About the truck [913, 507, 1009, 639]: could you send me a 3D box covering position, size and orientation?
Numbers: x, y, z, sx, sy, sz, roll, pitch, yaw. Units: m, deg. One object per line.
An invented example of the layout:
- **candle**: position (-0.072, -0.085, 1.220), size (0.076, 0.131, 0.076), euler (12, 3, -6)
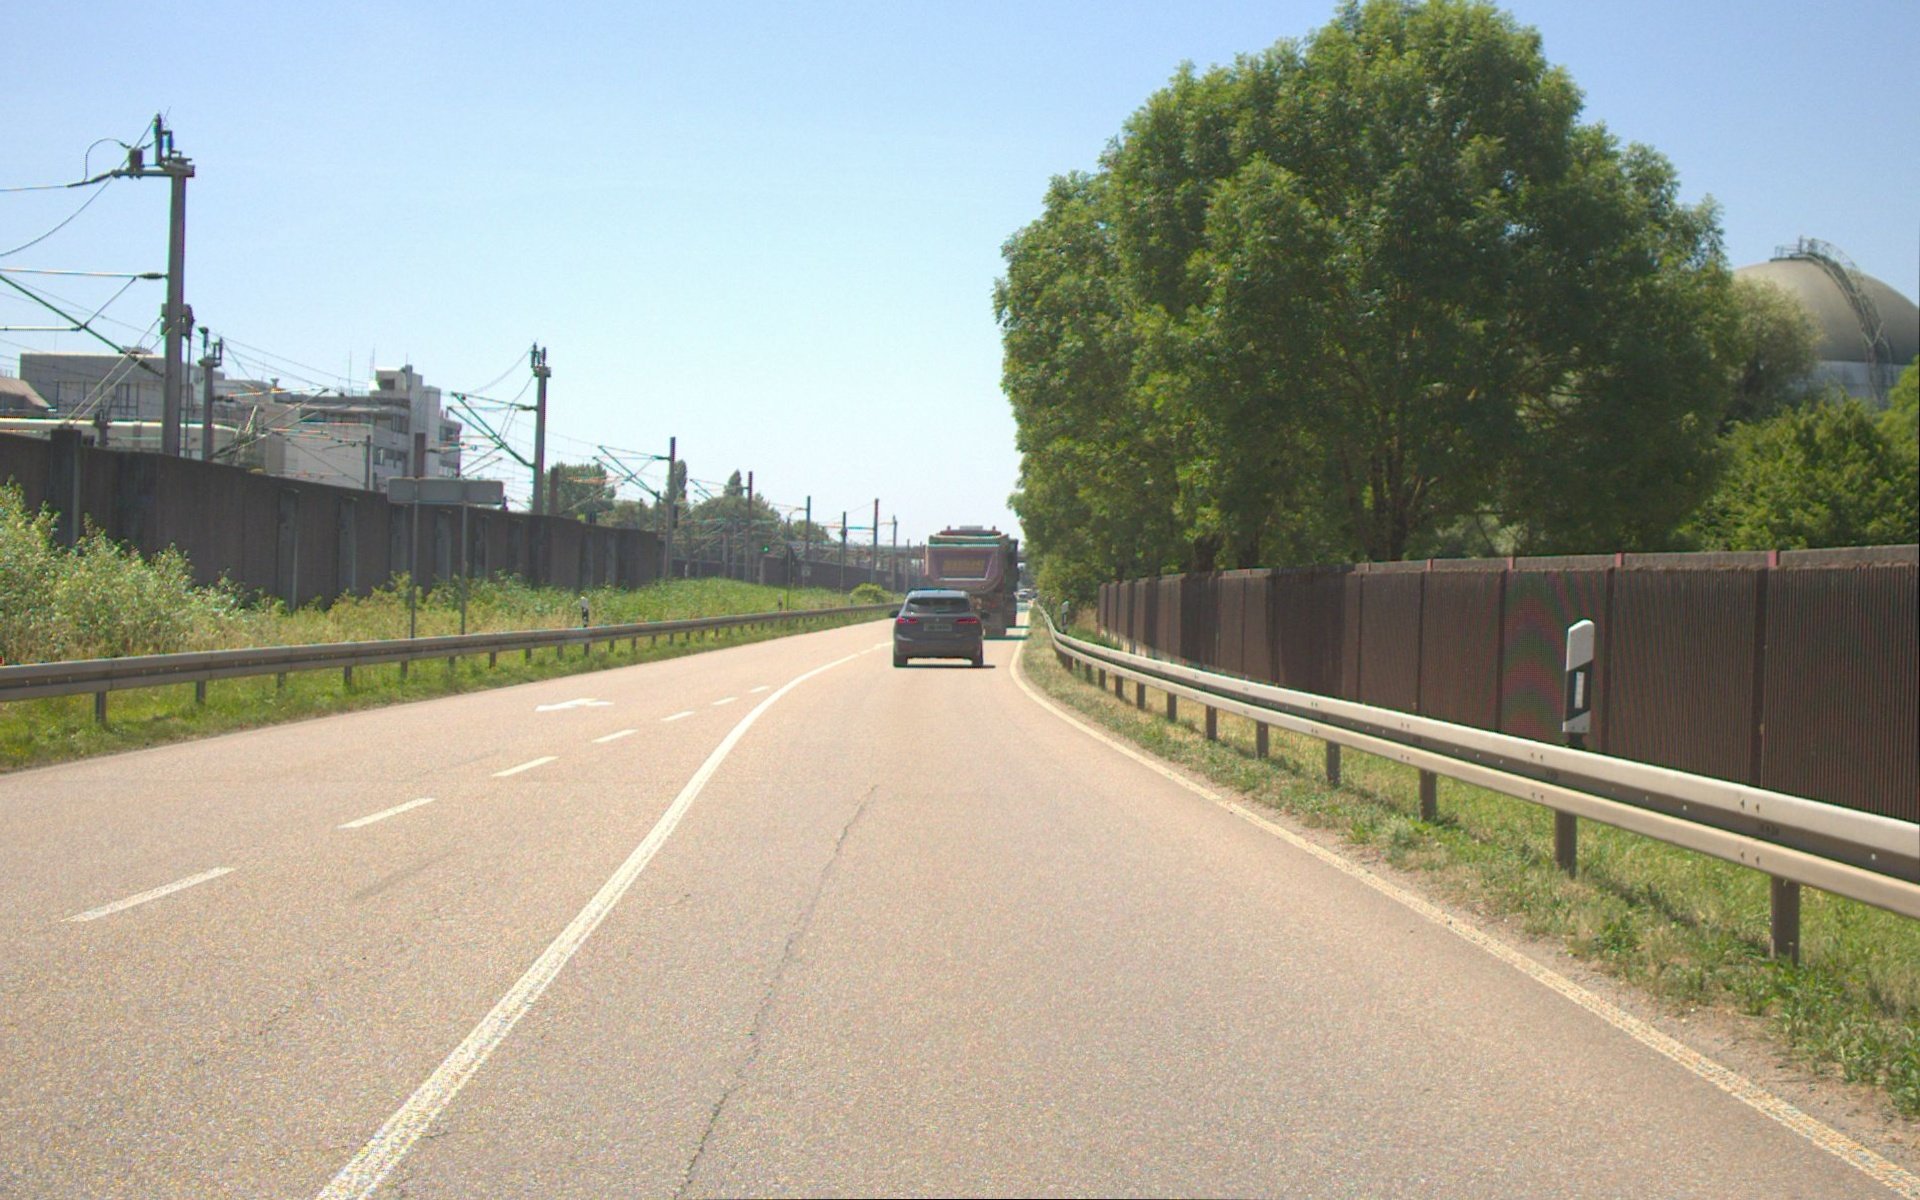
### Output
- **truck**: position (0.081, -0.812, 115.213), size (2.996, 4.166, 11.807), euler (1, -1, 1)

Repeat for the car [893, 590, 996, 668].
- **car**: position (-0.291, 0.618, 70.403), size (1.993, 1.498, 4.000), euler (2, -1, 1)
